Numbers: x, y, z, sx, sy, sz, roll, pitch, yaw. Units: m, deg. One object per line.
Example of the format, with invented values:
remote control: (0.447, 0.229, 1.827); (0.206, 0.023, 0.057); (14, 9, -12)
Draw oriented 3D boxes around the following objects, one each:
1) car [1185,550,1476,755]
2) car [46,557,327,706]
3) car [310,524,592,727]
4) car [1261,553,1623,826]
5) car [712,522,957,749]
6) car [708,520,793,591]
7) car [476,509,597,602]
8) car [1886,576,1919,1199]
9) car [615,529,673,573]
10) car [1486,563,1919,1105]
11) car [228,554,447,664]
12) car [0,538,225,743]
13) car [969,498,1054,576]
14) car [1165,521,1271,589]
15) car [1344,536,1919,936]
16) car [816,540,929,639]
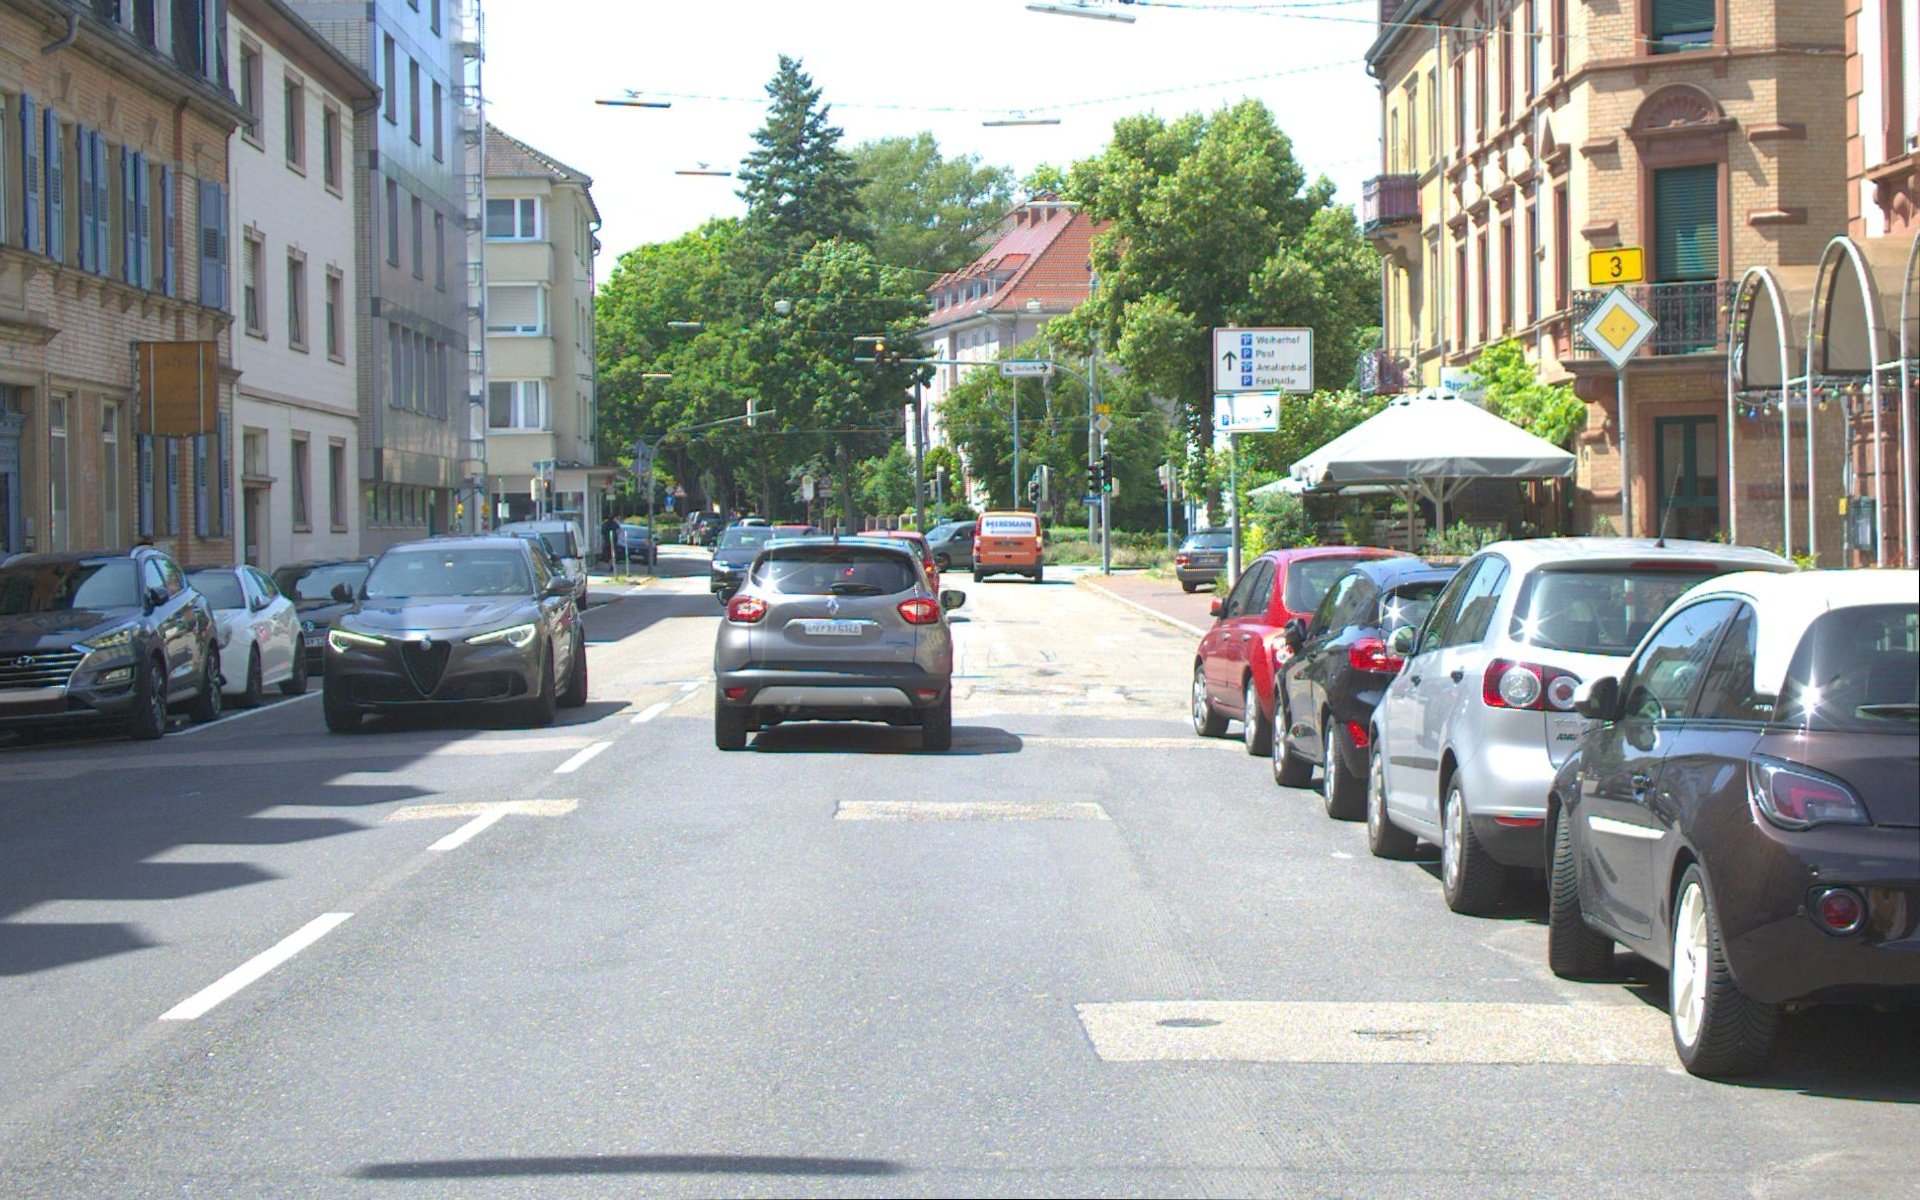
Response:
car: (2.732, 0.346, 26.002); (1.611, 1.438, 3.437); (0, 1, -4)
car: (-7.906, 0.278, 35.519); (1.904, 1.352, 4.303); (-3, 1, 0)
car: (-4.438, 0.174, 30.545); (1.939, 1.620, 4.000); (-2, 1, -1)
car: (2.752, 0.461, 20.294); (1.611, 1.456, 3.505); (0, 1, 0)
car: (-0.942, 0.215, 26.516); (1.744, 1.611, 4.000); (0, 1, -1)
car: (-4.950, -1.075, 81.596); (1.790, 1.620, 3.743); (0, 1, 0)
car: (-8.621, -0.913, 70.298); (1.904, 1.815, 4.302); (-1, 1, 0)
car: (2.887, 0.745, 4.694); (1.860, 1.460, 4.618); (1, 1, -2)
car: (-12.043, -1.890, 131.263); (1.790, 1.620, 3.743); (0, 1, 1)
car: (2.896, 0.628, 11.384); (1.660, 1.436, 4.000); (1, 1, 0)
car: (-7.905, 0.084, 44.014); (1.905, 1.287, 4.302); (-1, 1, 1)
car: (-7.736, 0.318, 30.225); (1.904, 1.614, 4.303); (-3, 1, -5)
car: (1.428, -1.712, 93.337); (1.994, 2.007, 4.466); (-1, 1, 4)
car: (6.066, -1.065, 80.479); (1.899, 1.503, 3.940); (-1, 1, 13)
car: (2.922, 0.505, 15.664); (1.860, 1.548, 4.000); (1, 1, 0)
car: (-1.568, -0.214, 60.422); (1.812, 1.615, 4.442); (-2, 1, -3)
